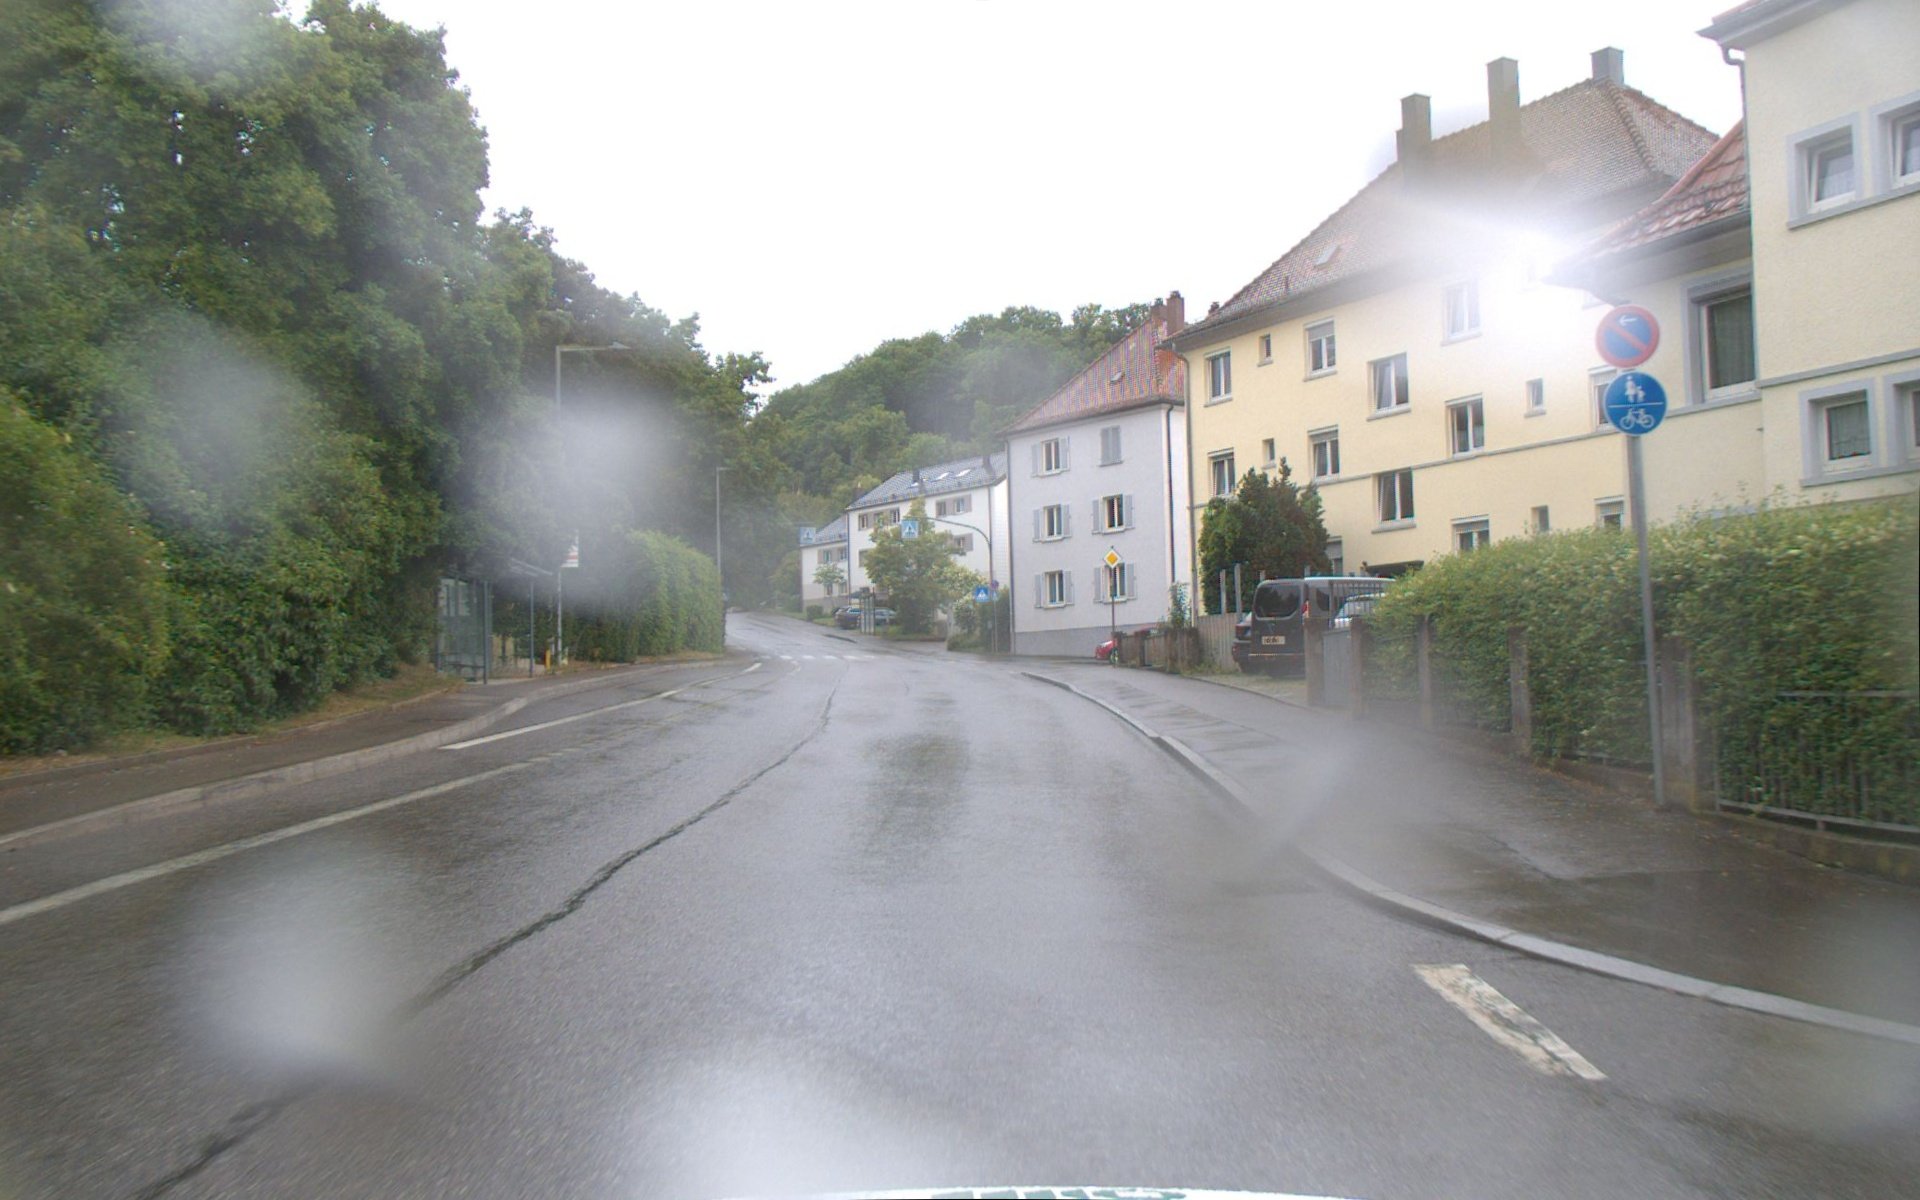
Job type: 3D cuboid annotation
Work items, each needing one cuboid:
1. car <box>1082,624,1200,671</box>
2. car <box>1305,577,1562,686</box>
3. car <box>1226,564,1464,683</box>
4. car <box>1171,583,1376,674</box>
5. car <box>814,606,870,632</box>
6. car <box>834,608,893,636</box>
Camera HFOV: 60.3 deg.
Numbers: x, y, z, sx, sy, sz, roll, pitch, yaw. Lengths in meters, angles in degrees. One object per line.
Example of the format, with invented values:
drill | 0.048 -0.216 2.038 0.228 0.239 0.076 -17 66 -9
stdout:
car | 6.762 1.802 61.989 3.929 1.646 1.988 2 -3 -21
car | 8.264 0.584 28.928 3.929 1.714 1.988 2 -3 -21
car | 7.218 0.478 31.055 3.929 2.049 1.988 2 -3 -21
car | 6.806 0.659 35.977 3.929 1.803 1.988 2 -3 -21
car | -8.878 1.457 124.195 3.916 1.803 1.994 2 -3 -12
car | -6.885 1.583 117.336 3.916 1.803 1.994 2 -3 -12
